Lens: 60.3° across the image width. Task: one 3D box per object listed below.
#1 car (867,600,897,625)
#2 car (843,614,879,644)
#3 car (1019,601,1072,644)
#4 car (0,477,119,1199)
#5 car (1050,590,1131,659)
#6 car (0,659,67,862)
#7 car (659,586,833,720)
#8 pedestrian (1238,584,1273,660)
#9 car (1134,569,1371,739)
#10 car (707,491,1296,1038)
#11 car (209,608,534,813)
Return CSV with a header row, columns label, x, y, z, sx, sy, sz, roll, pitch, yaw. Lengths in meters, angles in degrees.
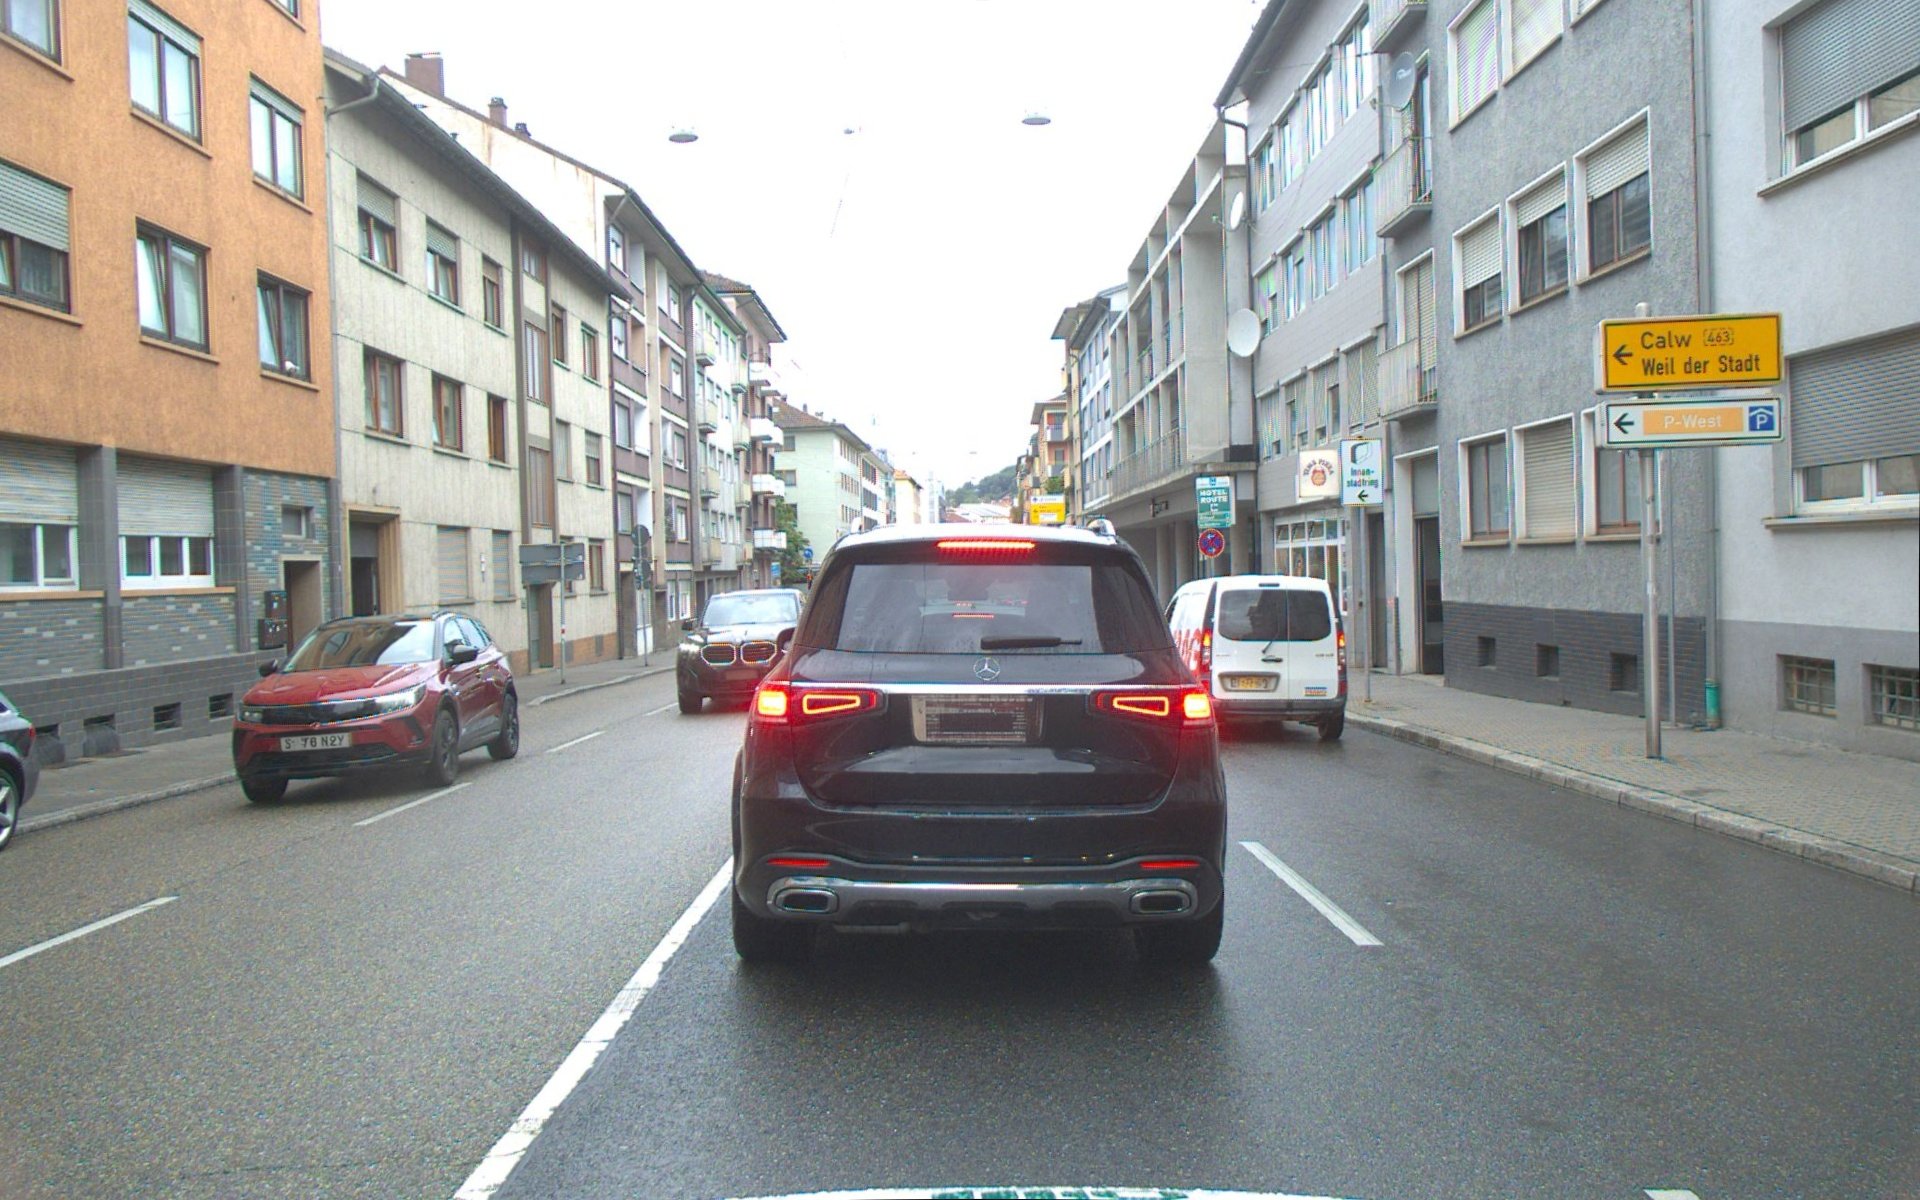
label,x,y,z,sx,sy,sz,roll,pitch,yaw
car,-4.874,0.782,104.023,1.690,1.414,4.338,-3,0,-1
car,-5.236,1.537,87.493,1.732,1.369,3.886,-5,0,-3
car,3.105,0.800,60.678,1.588,1.455,4.311,1,0,-1
car,-2.772,0.690,1.434,1.799,1.757,4.473,-4,0,-1
car,3.225,0.574,41.411,1.770,1.634,4.212,0,0,1
car,-7.964,1.202,10.903,1.759,1.463,4.525,1,0,-1
car,-3.177,0.737,25.593,2.083,1.750,4.816,-3,0,-1
pedestrian,6.406,0.469,35.863,0.549,1.606,0.526,-4,0,-2
car,3.379,0.575,20.038,1.901,1.806,4.744,0,0,-2
car,0.104,0.562,7.650,1.984,1.837,3.999,1,0,-1
car,-5.556,0.945,16.218,1.762,1.612,4.313,-3,0,-3
